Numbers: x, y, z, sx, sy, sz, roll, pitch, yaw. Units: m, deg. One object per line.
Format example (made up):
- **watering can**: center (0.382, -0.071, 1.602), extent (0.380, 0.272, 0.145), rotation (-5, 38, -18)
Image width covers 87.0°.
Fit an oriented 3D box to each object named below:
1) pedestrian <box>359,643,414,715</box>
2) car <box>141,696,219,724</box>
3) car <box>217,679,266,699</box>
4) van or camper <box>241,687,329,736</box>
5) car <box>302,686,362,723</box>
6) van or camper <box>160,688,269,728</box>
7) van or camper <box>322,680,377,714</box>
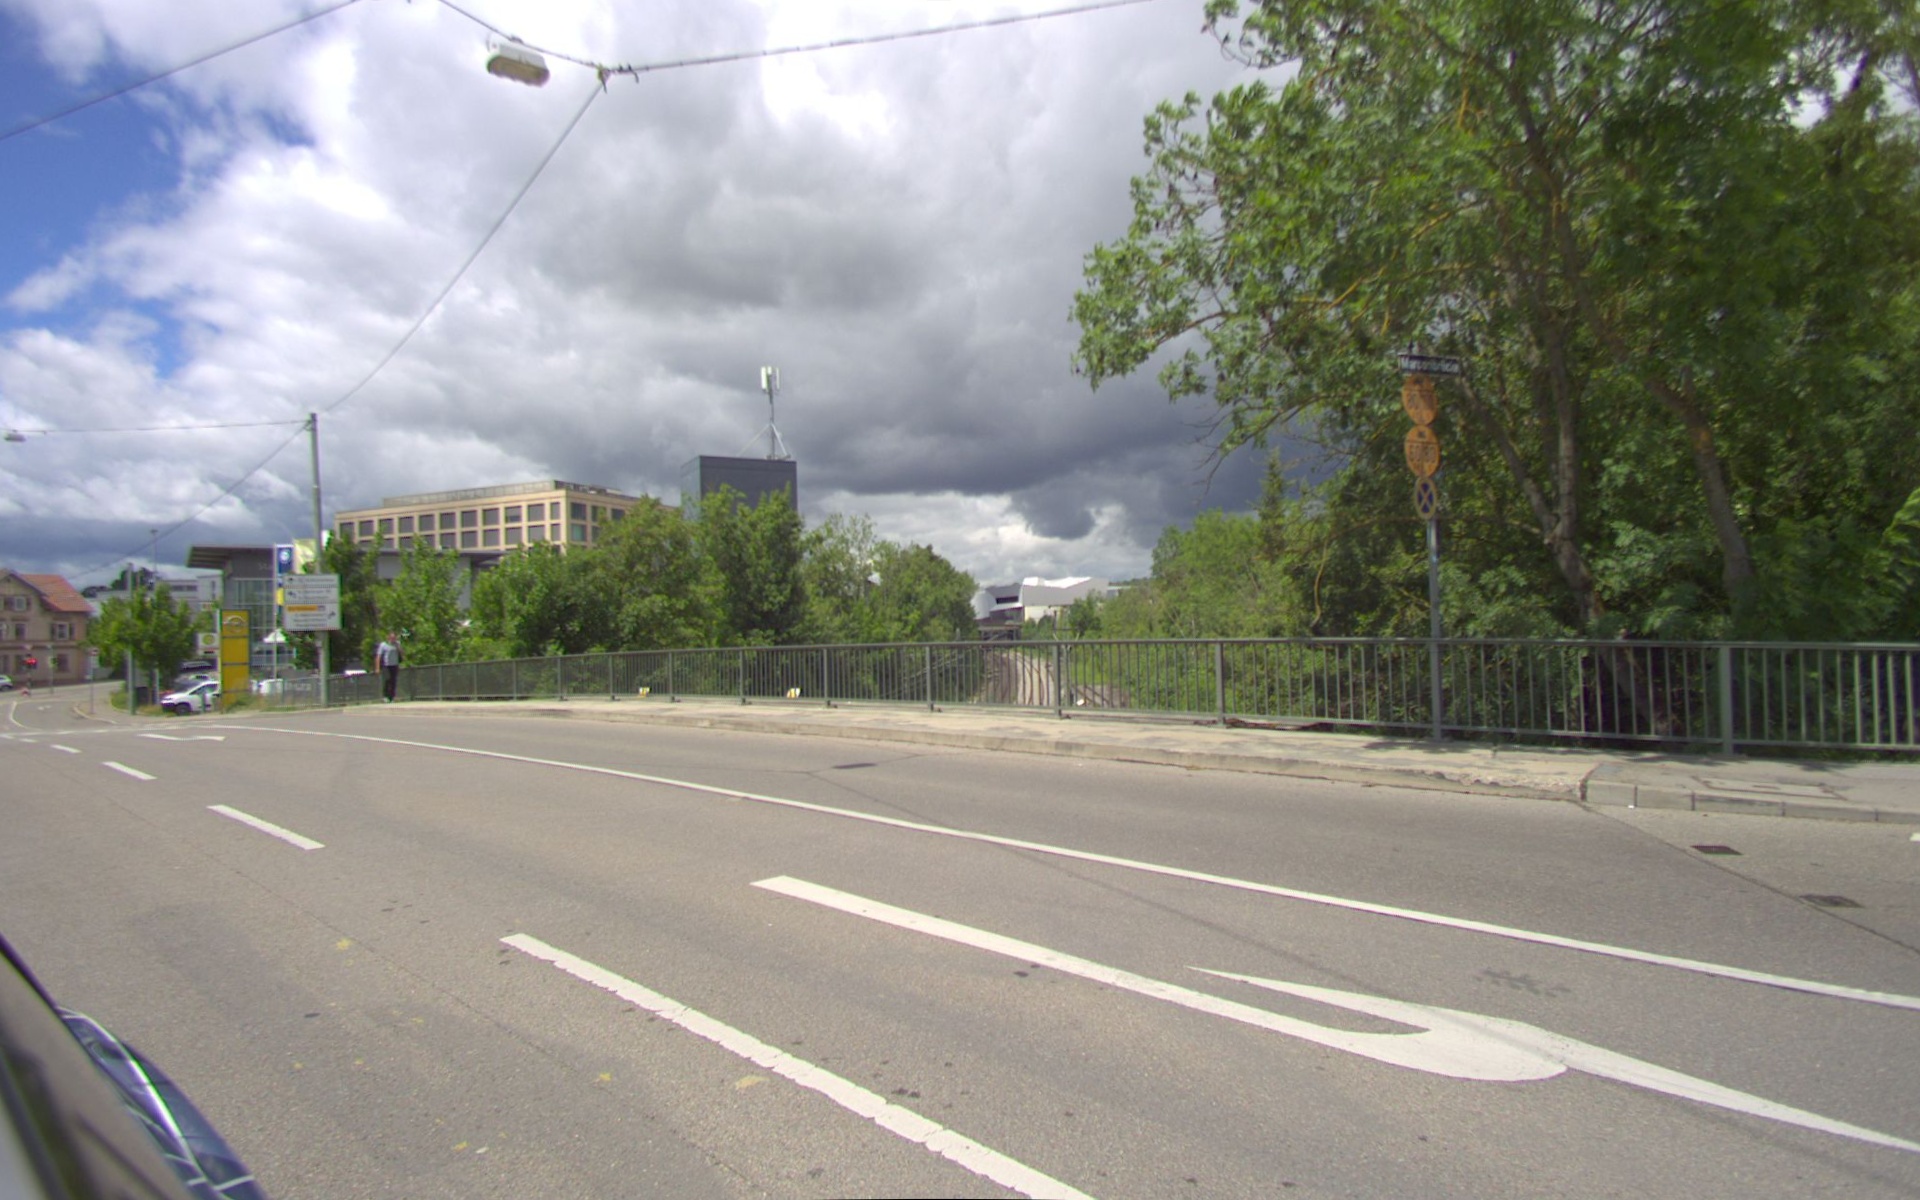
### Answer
- **pedestrian**: center (-15.790, 2.176, 27.851), extent (1.037, 1.851, 0.985), rotation (-7, -3, 43)
- **car**: center (-50.671, 7.124, 65.802), extent (1.812, 1.509, 3.806), rotation (-6, -4, 43)
- **car**: center (-57.298, 7.075, 80.762), extent (1.518, 1.384, 2.976), rotation (-6, -4, 45)
- **van or camper**: center (-33.023, 5.400, 49.691), extent (1.957, 1.978, 4.971), rotation (-3, -2, -14)
- **car**: center (-30.038, 4.967, 48.513), extent (1.787, 1.478, 4.013), rotation (-2, -2, -23)
- **van or camper**: center (-40.494, 5.844, 55.028), extent (4.611, 1.763, 2.002), rotation (-1, -4, -42)
- **van or camper**: center (-40.468, 6.411, 67.019), extent (4.686, 2.029, 1.971), rotation (-6, -4, 44)
